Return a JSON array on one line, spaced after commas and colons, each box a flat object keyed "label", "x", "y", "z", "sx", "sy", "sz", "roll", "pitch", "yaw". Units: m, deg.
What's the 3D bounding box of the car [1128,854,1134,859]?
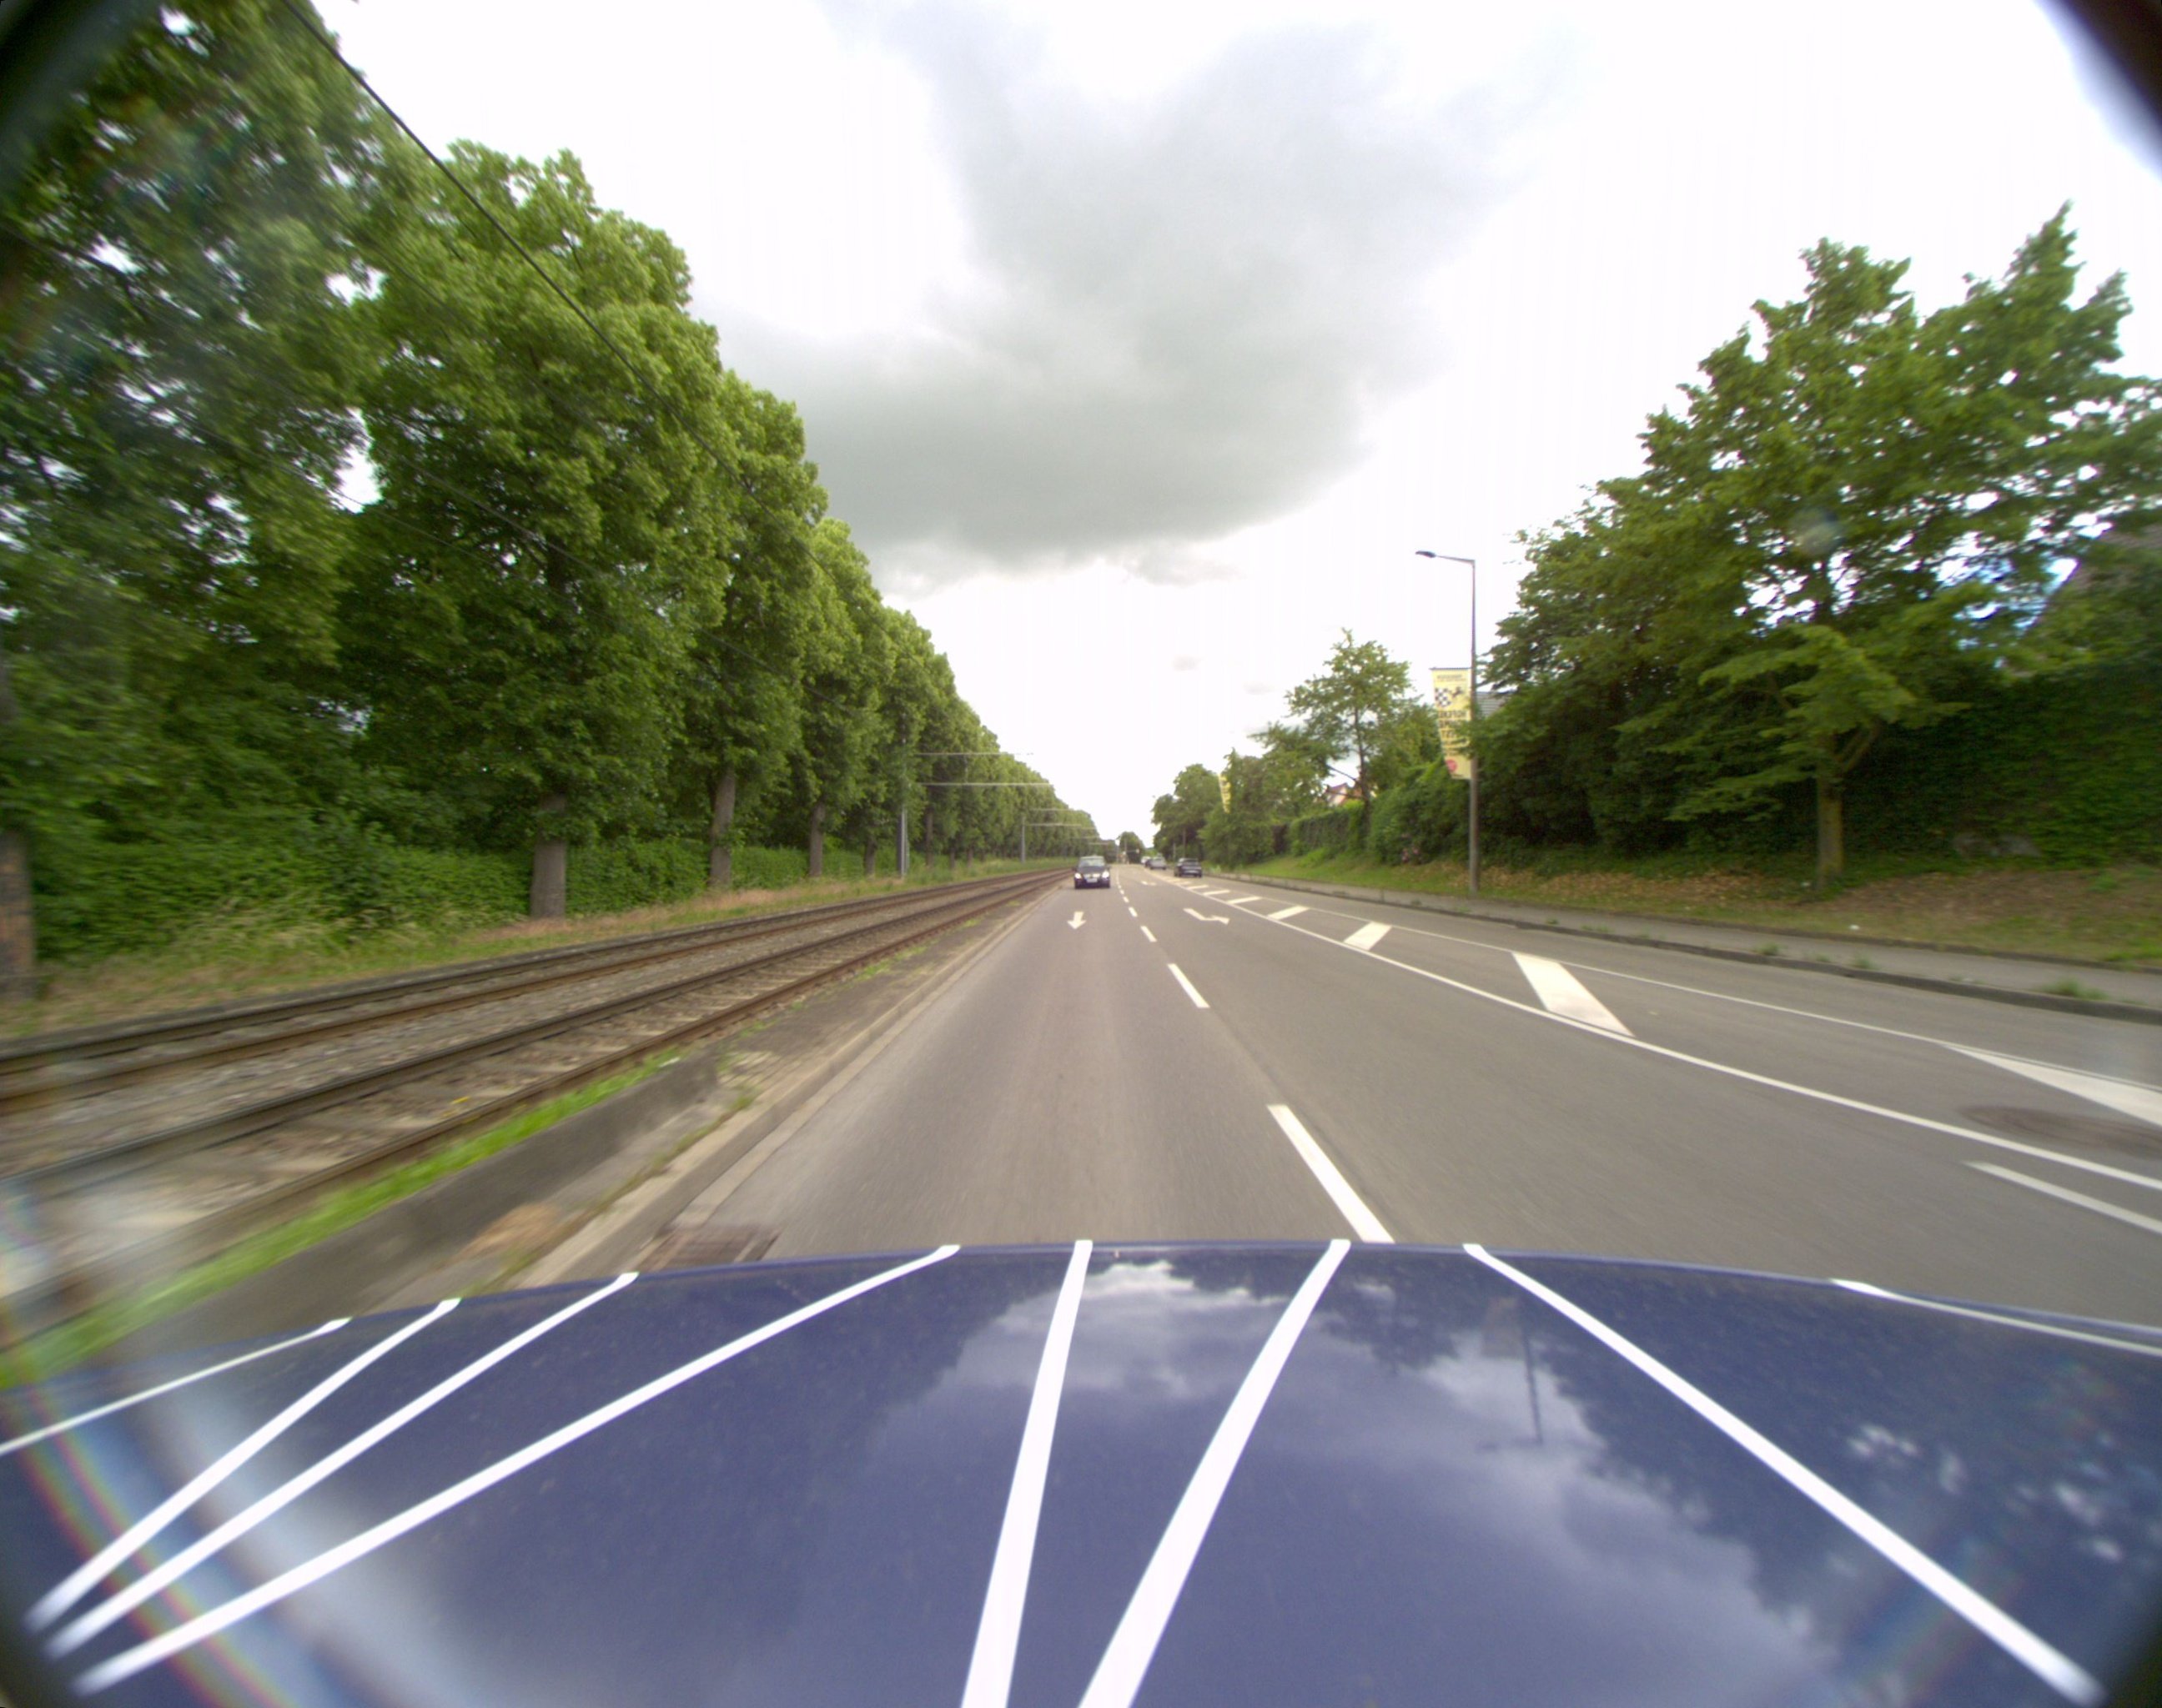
[{"label": "car", "x": 16.462, "y": 0.783, "z": 248.698, "sx": 1.808, "sy": 1.778, "sz": 3.928, "roll": -2, "pitch": 1, "yaw": 1}]

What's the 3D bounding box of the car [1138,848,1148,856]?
[{"label": "car", "x": 11.912, "y": -0.369, "z": 146.015, "sx": 1.745, "sy": 1.453, "sz": 3.839, "roll": -2, "pitch": 1, "yaw": 1}]

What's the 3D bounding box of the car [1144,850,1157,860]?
[{"label": "car", "x": 10.440, "y": 0.120, "z": 114.348, "sx": 1.653, "sy": 1.418, "sz": 3.928, "roll": -2, "pitch": 1, "yaw": 1}]

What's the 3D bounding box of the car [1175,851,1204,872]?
[{"label": "car", "x": 8.211, "y": 0.554, "z": 57.536, "sx": 1.658, "sy": 1.414, "sz": 4.008, "roll": 1, "pitch": 1, "yaw": 1}]

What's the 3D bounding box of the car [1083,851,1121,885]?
[{"label": "car", "x": 1.047, "y": 0.680, "z": 38.622, "sx": 1.808, "sy": 1.520, "sz": 3.928, "roll": -2, "pitch": 1, "yaw": 1}]

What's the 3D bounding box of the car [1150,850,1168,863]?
[{"label": "car", "x": 9.620, "y": 0.268, "z": 93.566, "sx": 1.808, "sy": 1.520, "sz": 3.928, "roll": -2, "pitch": 1, "yaw": 1}]
